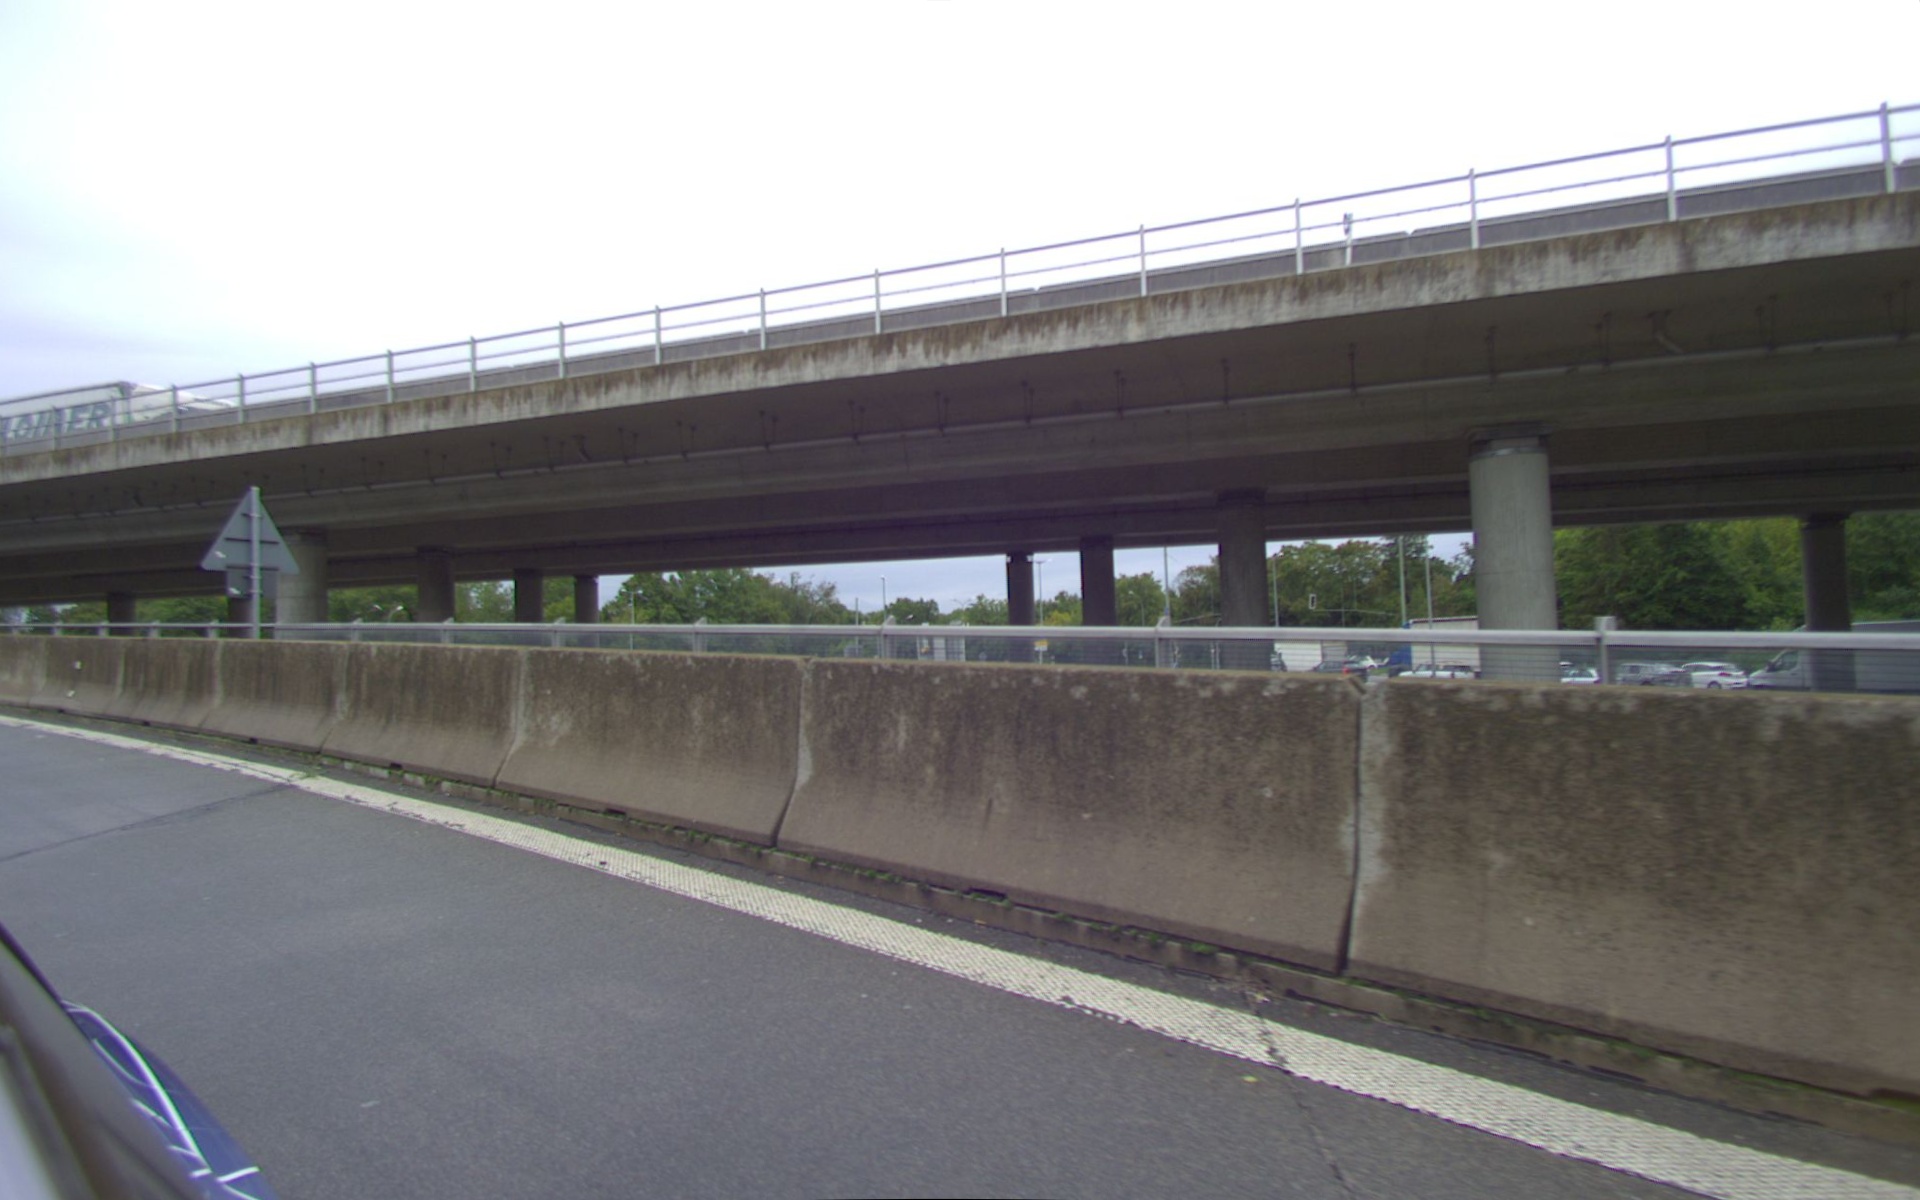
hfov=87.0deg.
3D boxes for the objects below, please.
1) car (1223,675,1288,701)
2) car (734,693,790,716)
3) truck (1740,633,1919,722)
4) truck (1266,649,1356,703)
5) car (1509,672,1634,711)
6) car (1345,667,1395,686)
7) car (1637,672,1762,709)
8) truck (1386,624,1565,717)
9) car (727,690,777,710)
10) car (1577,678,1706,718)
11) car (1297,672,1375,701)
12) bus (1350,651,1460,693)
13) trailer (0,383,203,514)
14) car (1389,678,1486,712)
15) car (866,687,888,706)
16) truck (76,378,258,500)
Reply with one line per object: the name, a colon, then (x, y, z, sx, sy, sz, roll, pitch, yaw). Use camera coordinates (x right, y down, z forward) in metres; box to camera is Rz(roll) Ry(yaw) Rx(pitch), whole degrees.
car: (20.244, 6.033, 69.575, 1.941, 1.618, 4.605, 2, -3, -19)
car: (-17.019, 8.968, 87.038, 4.318, 1.763, 1.804, -2, 0, 10)
truck: (33.138, 2.748, 37.149, 2.222, 3.000, 7.253, 2, -2, -15)
truck: (25.344, 5.418, 73.427, 2.751, 3.708, 6.663, 2, -3, -17)
car: (27.507, 4.080, 45.704, 1.941, 1.595, 4.605, 2, -3, -19)
car: (37.723, 7.038, 93.251, 3.959, 1.719, 1.791, -1, -4, 13)
car: (35.782, 4.347, 49.152, 1.941, 1.595, 4.604, 2, -3, -17)
truck: (27.729, 3.766, 55.215, 2.751, 4.627, 9.629, 2, -3, -17)
car: (-18.688, 8.992, 91.021, 3.956, 1.630, 1.843, -2, 0, 10)
car: (30.581, 4.361, 45.615, 1.942, 1.595, 4.604, 2, -3, -16)
car: (22.591, 5.198, 61.009, 1.941, 1.595, 4.605, 2, -3, -18)
bus: (44.412, 7.095, 101.302, 9.883, 3.729, 2.206, 0, -1, 33)
trailer: (-34.074, -5.258, 37.222, 13.949, 3.323, 2.649, -2, -2, 19)
car: (25.172, 4.968, 53.507, 1.941, 1.595, 4.605, 2, -3, -19)
car: (-9.889, 11.475, 120.326, 1.967, 2.029, 4.567, 1, -3, -11)
truck: (-27.307, -5.440, 34.886, 5.154, 3.270, 2.580, -3, -2, 19)
